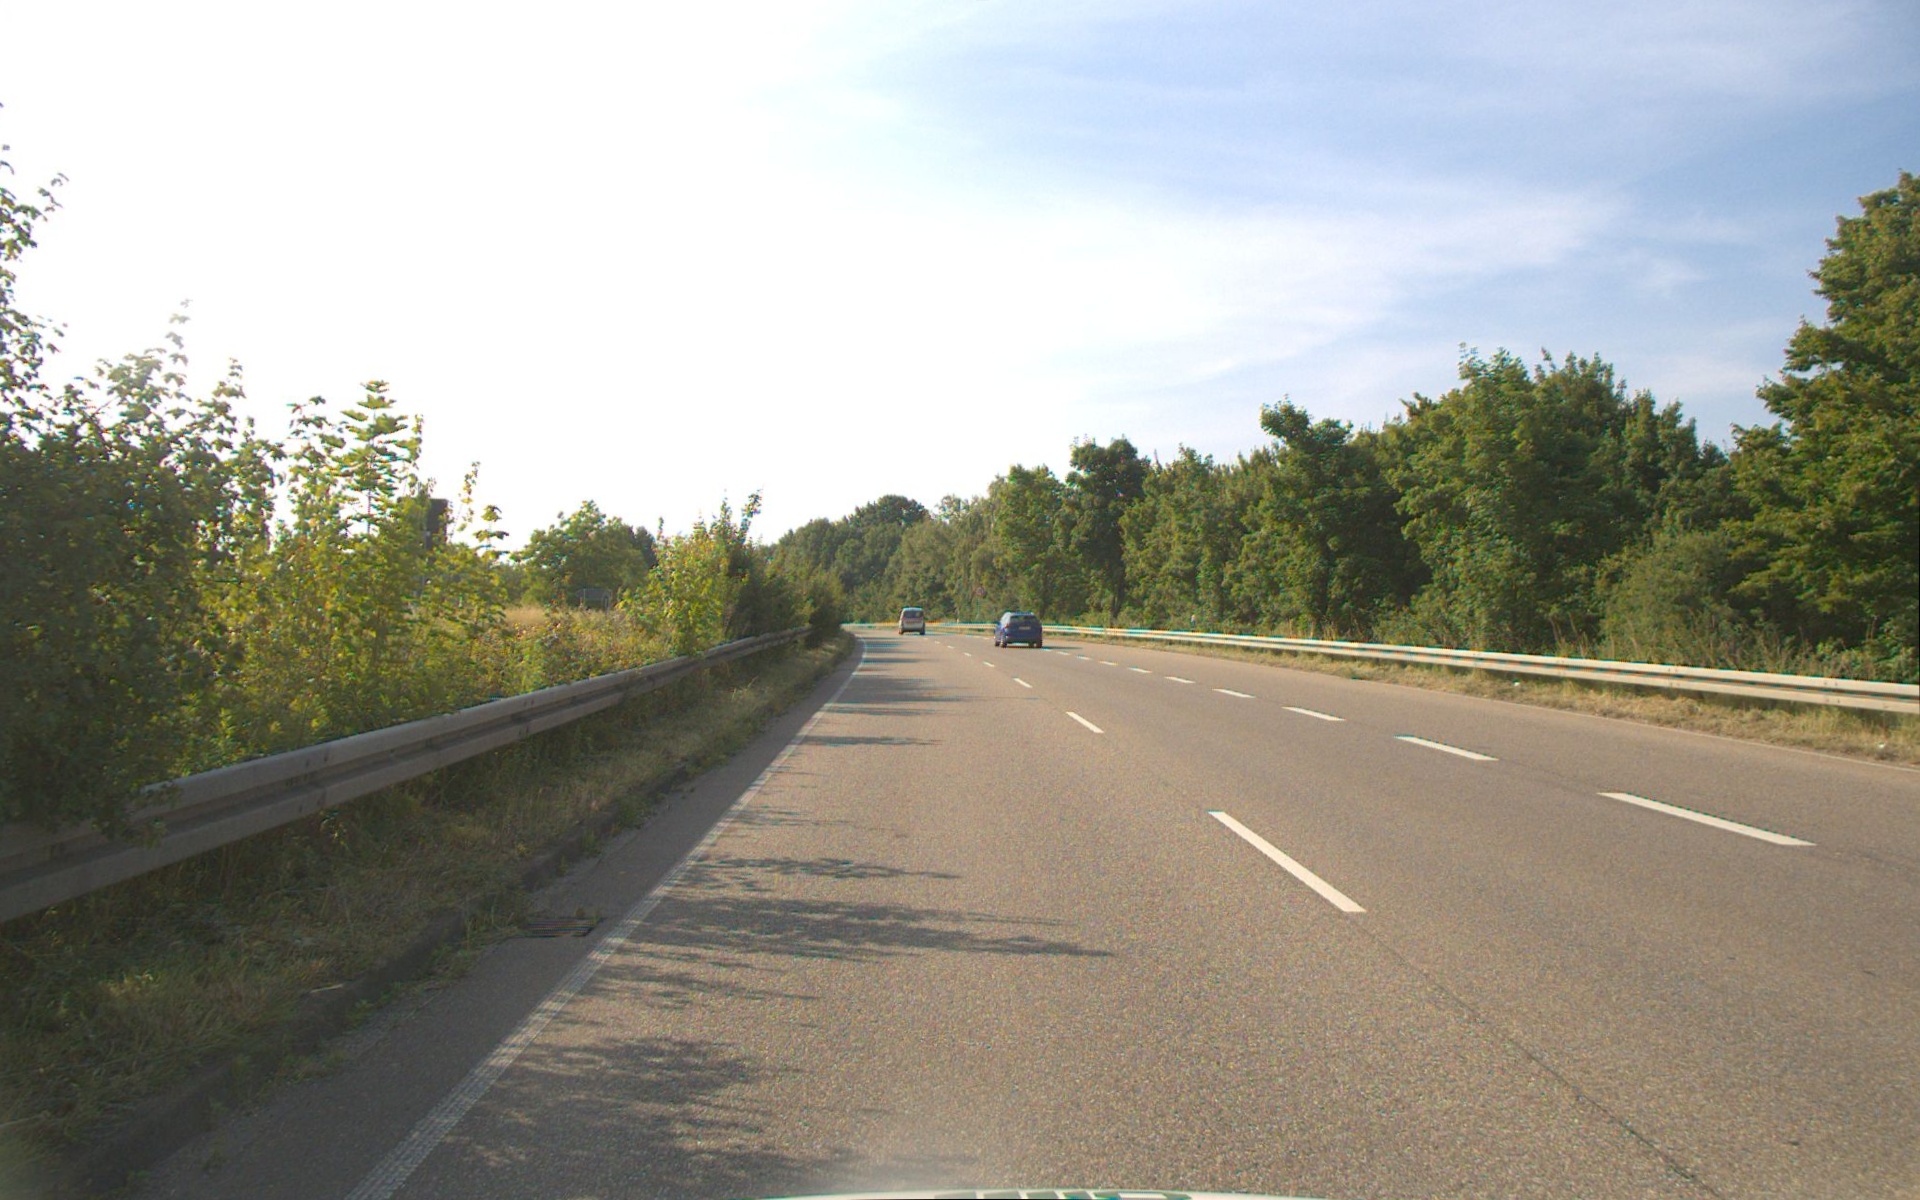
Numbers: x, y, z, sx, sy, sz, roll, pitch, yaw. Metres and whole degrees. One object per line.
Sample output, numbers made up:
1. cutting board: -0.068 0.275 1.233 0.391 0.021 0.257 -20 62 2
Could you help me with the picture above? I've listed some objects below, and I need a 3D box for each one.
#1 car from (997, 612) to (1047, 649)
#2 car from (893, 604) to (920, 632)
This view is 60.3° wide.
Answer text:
1. car: 2.602 1.296 70.163 1.744 1.477 3.996 0 -1 -4
2. car: -3.666 1.240 113.846 1.730 1.915 3.997 0 0 -4
